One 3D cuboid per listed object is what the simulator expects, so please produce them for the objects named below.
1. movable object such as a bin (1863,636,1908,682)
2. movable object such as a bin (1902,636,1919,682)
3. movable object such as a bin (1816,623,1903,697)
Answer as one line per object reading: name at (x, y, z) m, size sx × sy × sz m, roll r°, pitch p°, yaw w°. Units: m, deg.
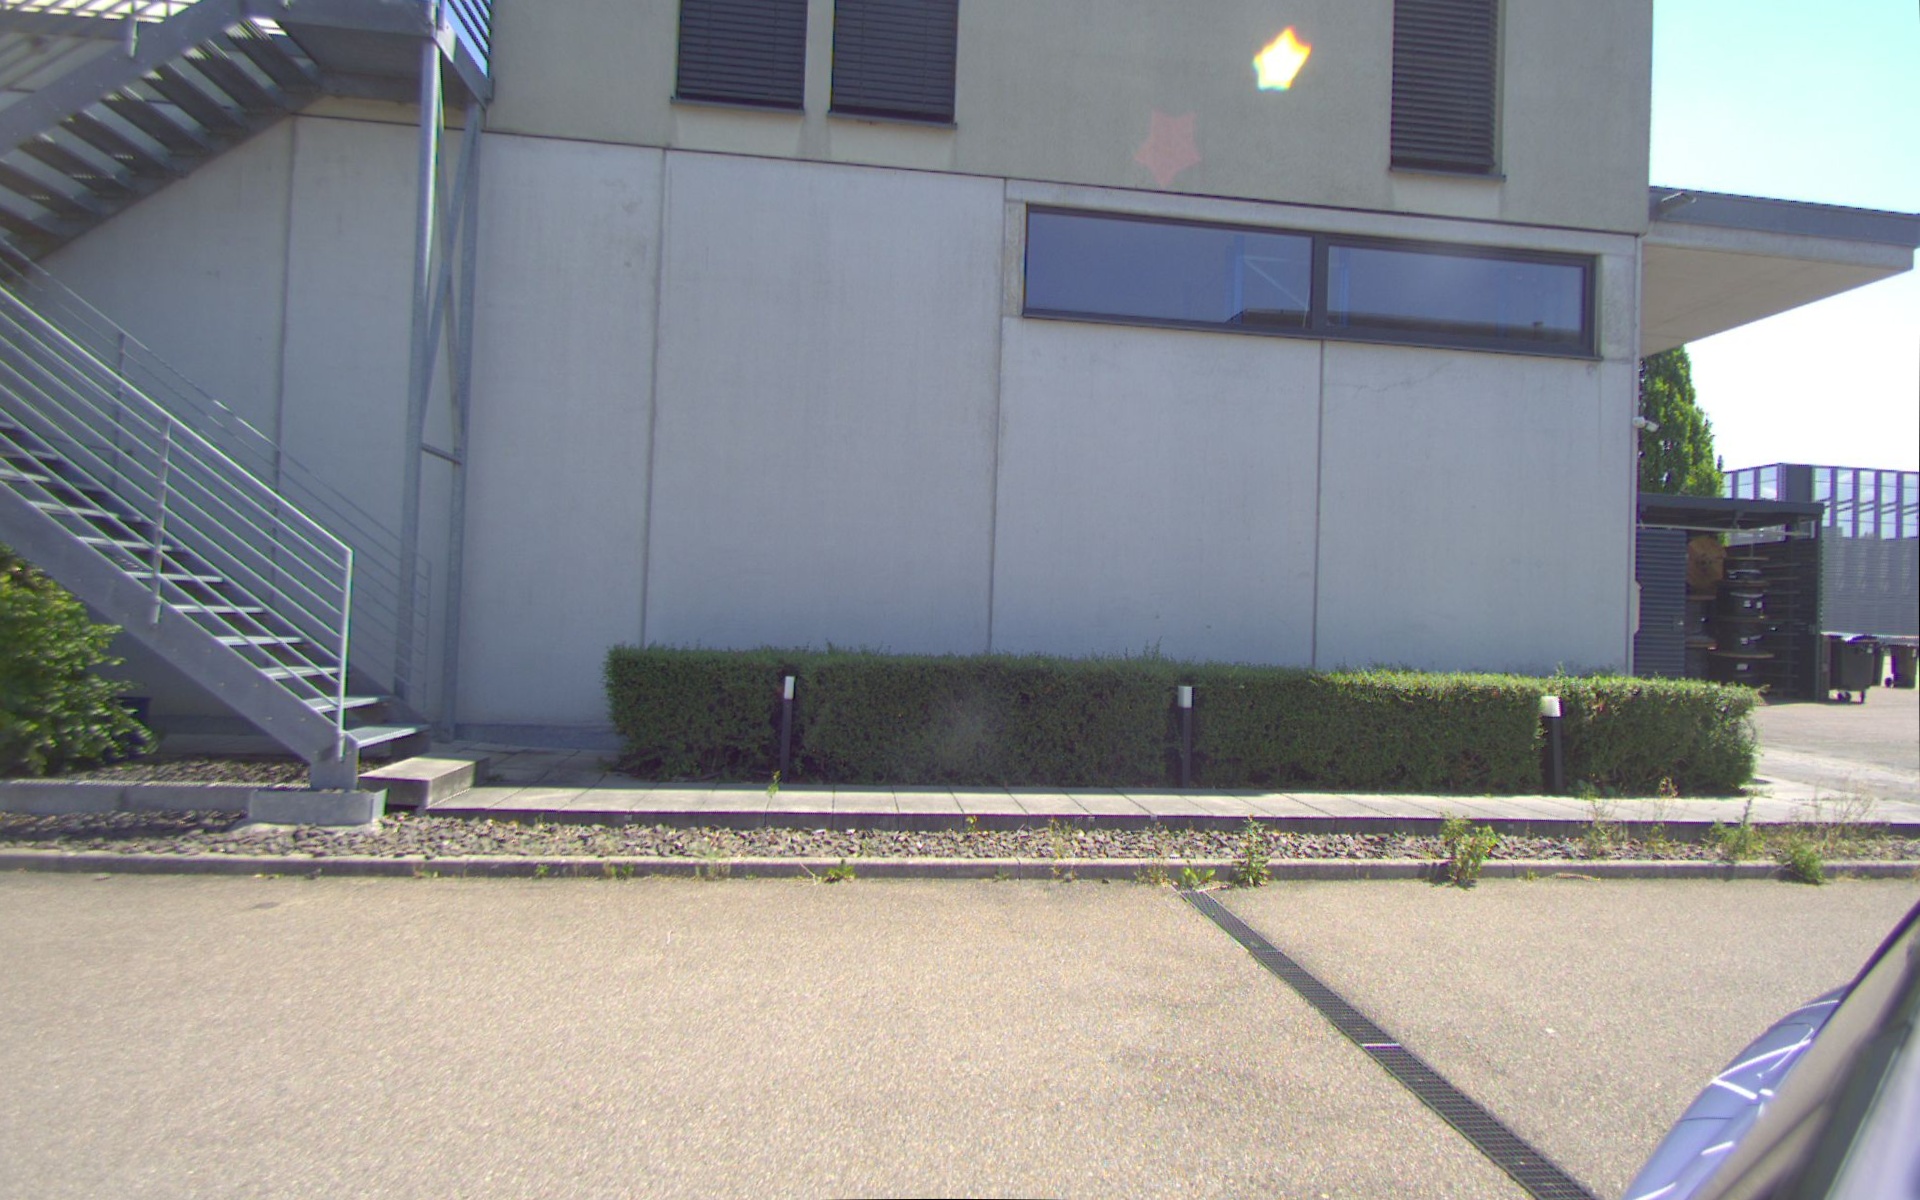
movable object such as a bin at (19.600, 1.233, 21.438) m, size 0.537 × 0.929 × 0.586 m, roll 1°, pitch 0°, yaw -31°
movable object such as a bin at (19.948, 1.214, 20.901) m, size 0.537 × 0.929 × 0.586 m, roll 1°, pitch 0°, yaw -31°
movable object such as a bin at (16.171, 1.062, 18.213) m, size 0.787 × 1.265 × 0.876 m, roll 1°, pitch 0°, yaw 2°
